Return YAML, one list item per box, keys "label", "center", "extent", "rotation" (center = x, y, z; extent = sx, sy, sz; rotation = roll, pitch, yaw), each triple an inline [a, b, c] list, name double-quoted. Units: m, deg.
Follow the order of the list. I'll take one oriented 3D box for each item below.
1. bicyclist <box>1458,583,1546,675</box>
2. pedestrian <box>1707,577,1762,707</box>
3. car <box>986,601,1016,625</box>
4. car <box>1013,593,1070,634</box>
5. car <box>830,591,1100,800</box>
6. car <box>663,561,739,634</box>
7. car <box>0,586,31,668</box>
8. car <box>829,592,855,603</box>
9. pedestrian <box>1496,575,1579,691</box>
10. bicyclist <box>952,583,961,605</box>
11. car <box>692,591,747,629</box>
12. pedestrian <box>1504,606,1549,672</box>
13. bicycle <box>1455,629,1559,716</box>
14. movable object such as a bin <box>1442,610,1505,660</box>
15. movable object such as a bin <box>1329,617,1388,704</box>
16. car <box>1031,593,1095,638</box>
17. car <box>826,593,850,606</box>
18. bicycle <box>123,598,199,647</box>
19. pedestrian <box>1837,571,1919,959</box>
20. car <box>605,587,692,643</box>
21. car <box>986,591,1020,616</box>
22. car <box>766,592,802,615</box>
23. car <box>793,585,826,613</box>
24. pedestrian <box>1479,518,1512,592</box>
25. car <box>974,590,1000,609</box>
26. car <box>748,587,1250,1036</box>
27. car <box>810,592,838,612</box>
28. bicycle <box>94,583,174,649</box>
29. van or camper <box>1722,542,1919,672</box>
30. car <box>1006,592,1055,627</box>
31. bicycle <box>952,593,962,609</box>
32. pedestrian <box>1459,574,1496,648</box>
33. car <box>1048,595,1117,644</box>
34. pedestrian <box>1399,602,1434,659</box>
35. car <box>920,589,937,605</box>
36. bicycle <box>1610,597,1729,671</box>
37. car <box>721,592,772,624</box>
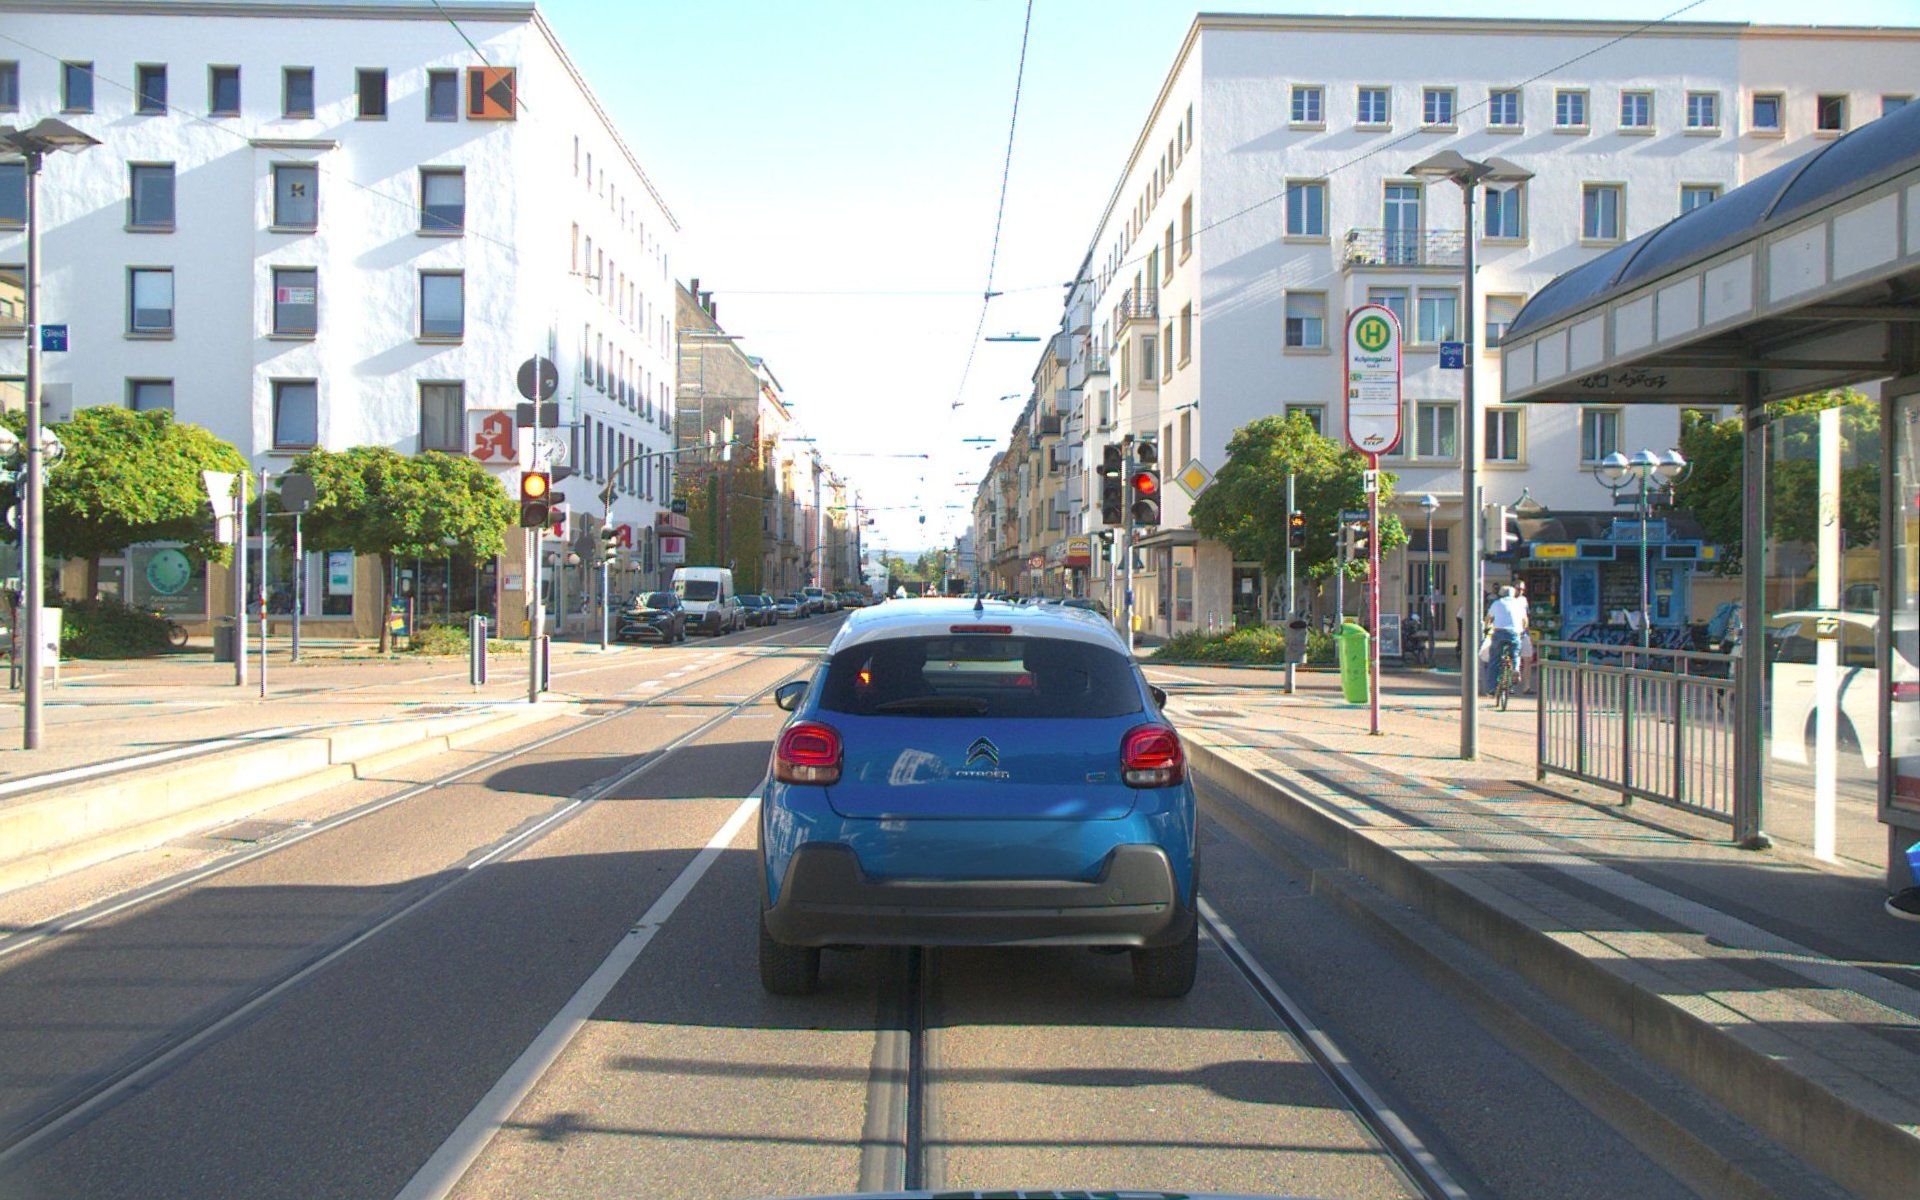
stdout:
- label: "bicyclist"
  center: [7.702, 0.399, 23.529]
  extent: [0.931, 1.247, 0.934]
  rotation: [2, 0, 1]
- label: "pedestrian"
  center: [10.773, 0.581, 23.008]
  extent: [0.546, 1.775, 0.527]
  rotation: [1, -1, 10]
- label: "car"
  center: [2.678, 0.855, 109.506]
  extent: [1.952, 1.579, 4.001]
  rotation: [0, 0, 1]
- label: "car"
  center: [3.060, 0.487, 62.958]
  extent: [1.953, 1.527, 4.000]
  rotation: [0, 0, 0]
- label: "car"
  center: [-0.005, 0.689, 14.469]
  extent: [1.944, 1.490, 4.814]
  rotation: [1, 0, -1]
- label: "car"
  center: [-9.733, -0.092, 62.610]
  extent: [2.043, 2.586, 6.203]
  rotation: [1, 0, -2]
- label: "car"
  center: [-22.386, 0.571, 35.417]
  extent: [3.906, 1.736, 1.825]
  rotation: [0, 0, -1]
- label: "car"
  center: [-13.174, -0.263, 184.616]
  extent: [1.951, 1.176, 4.518]
  rotation: [0, 0, 8]
- label: "pedestrian"
  center: [9.695, 0.558, 27.810]
  extent: [0.961, 1.910, 1.128]
  rotation: [0, -1, -3]
- label: "bicyclist"
  center: [-0.315, -0.559, 152.268]
  extent: [0.793, 2.049, 0.922]
  rotation: [1, -1, -1]
- label: "car"
  center: [-10.043, 0.412, 69.358]
  extent: [1.850, 1.522, 3.560]
  rotation: [1, 0, -2]
- label: "pedestrian"
  center: [12.744, 0.872, 37.215]
  extent: [0.715, 1.434, 0.755]
  rotation: [0, 3, -1]
- label: "bicycle"
  center: [7.686, 0.995, 23.339]
  extent: [0.703, 1.080, 2.323]
  rotation: [2, 0, 1]
- label: "movable object such as a bin"
  center: [12.530, 0.846, 40.415]
  extent: [1.174, 1.173, 1.217]
  rotation: [0, 0, 0]
- label: "movable object such as a bin"
  center: [3.735, 0.562, 15.523]
  extent: [0.439, 0.800, 0.489]
  rotation: [0, 0, 2]
- label: "car"
  center: [3.505, 0.510, 57.131]
  extent: [1.953, 1.489, 4.000]
  rotation: [0, 0, 0]
- label: "car"
  center: [-11.300, -0.026, 153.952]
  extent: [1.953, 1.176, 4.000]
  rotation: [0, 0, 0]
- label: "bicycle"
  center: [-20.624, 0.562, 42.764]
  extent: [0.605, 1.211, 2.621]
  rotation: [0, 0, 2]
- label: "pedestrian"
  center: [3.589, 0.554, 5.335]
  extent: [0.978, 1.246, 0.923]
  rotation: [3, -1, -1]
- label: "car"
  center: [-9.788, 0.464, 52.247]
  extent: [1.953, 1.596, 4.401]
  rotation: [3, 0, -2]
- label: "car"
  center: [2.650, 0.222, 102.061]
  extent: [1.953, 1.489, 4.504]
  rotation: [0, 0, 0]
- label: "car"
  center: [-10.935, 0.235, 102.954]
  extent: [1.953, 1.348, 3.921]
  rotation: [1, 0, -2]
- label: "car"
  center: [-11.480, -0.069, 126.585]
  extent: [1.965, 2.049, 4.690]
  rotation: [1, 0, 1]
- label: "pedestrian"
  center: [13.642, -1.140, 42.136]
  extent: [0.639, 1.871, 0.659]
  rotation: [0, 0, 2]
- label: "car"
  center: [2.157, -0.021, 133.242]
  extent: [1.953, 1.489, 4.000]
  rotation: [0, 0, 0]
- label: "car"
  center: [0.105, 0.721, 7.582]
  extent: [1.693, 1.508, 3.826]
  rotation: [1, 0, -1]
- label: "car"
  center: [-11.188, 0.198, 136.445]
  extent: [1.914, 1.579, 3.939]
  rotation: [1, 0, 1]
- label: "bicycle"
  center: [-21.333, 0.402, 42.778]
  extent: [0.605, 1.635, 2.621]
  rotation: [0, 0, 3]
- label: "van or camper"
  center: [20.982, 0.125, 36.773]
  extent: [6.976, 2.795, 2.371]
  rotation: [0, 1, 0]
- label: "car"
  center: [3.092, 0.413, 73.275]
  extent: [1.953, 1.489, 4.000]
  rotation: [0, 0, 0]
- label: "bicycle"
  center: [-0.281, 0.060, 152.206]
  extent: [0.901, 1.413, 3.131]
  rotation: [0, 0, -1]
- label: "pedestrian"
  center: [13.338, 0.281, 42.647]
  extent: [0.768, 1.871, 0.678]
  rotation: [0, 0, 2]
- label: "car"
  center: [3.840, 0.586, 52.478]
  extent: [1.870, 1.489, 4.000]
  rotation: [0, 0, 0]
- label: "pedestrian"
  center: [10.817, 0.722, 39.210]
  extent: [0.725, 1.339, 0.628]
  rotation: [0, 0, 22]
- label: "car"
  center: [-3.651, -0.315, 191.384]
  extent: [1.953, 1.803, 3.999]
  rotation: [0, 0, -1]
- label: "bicycle"
  center: [15.891, 0.758, 37.075]
  extent: [2.336, 1.558, 0.726]
  rotation: [2, 0, -2]
- label: "car"
  center: [-10.022, 0.360, 77.973]
  extent: [1.953, 1.422, 4.155]
  rotation: [1, 0, -2]
